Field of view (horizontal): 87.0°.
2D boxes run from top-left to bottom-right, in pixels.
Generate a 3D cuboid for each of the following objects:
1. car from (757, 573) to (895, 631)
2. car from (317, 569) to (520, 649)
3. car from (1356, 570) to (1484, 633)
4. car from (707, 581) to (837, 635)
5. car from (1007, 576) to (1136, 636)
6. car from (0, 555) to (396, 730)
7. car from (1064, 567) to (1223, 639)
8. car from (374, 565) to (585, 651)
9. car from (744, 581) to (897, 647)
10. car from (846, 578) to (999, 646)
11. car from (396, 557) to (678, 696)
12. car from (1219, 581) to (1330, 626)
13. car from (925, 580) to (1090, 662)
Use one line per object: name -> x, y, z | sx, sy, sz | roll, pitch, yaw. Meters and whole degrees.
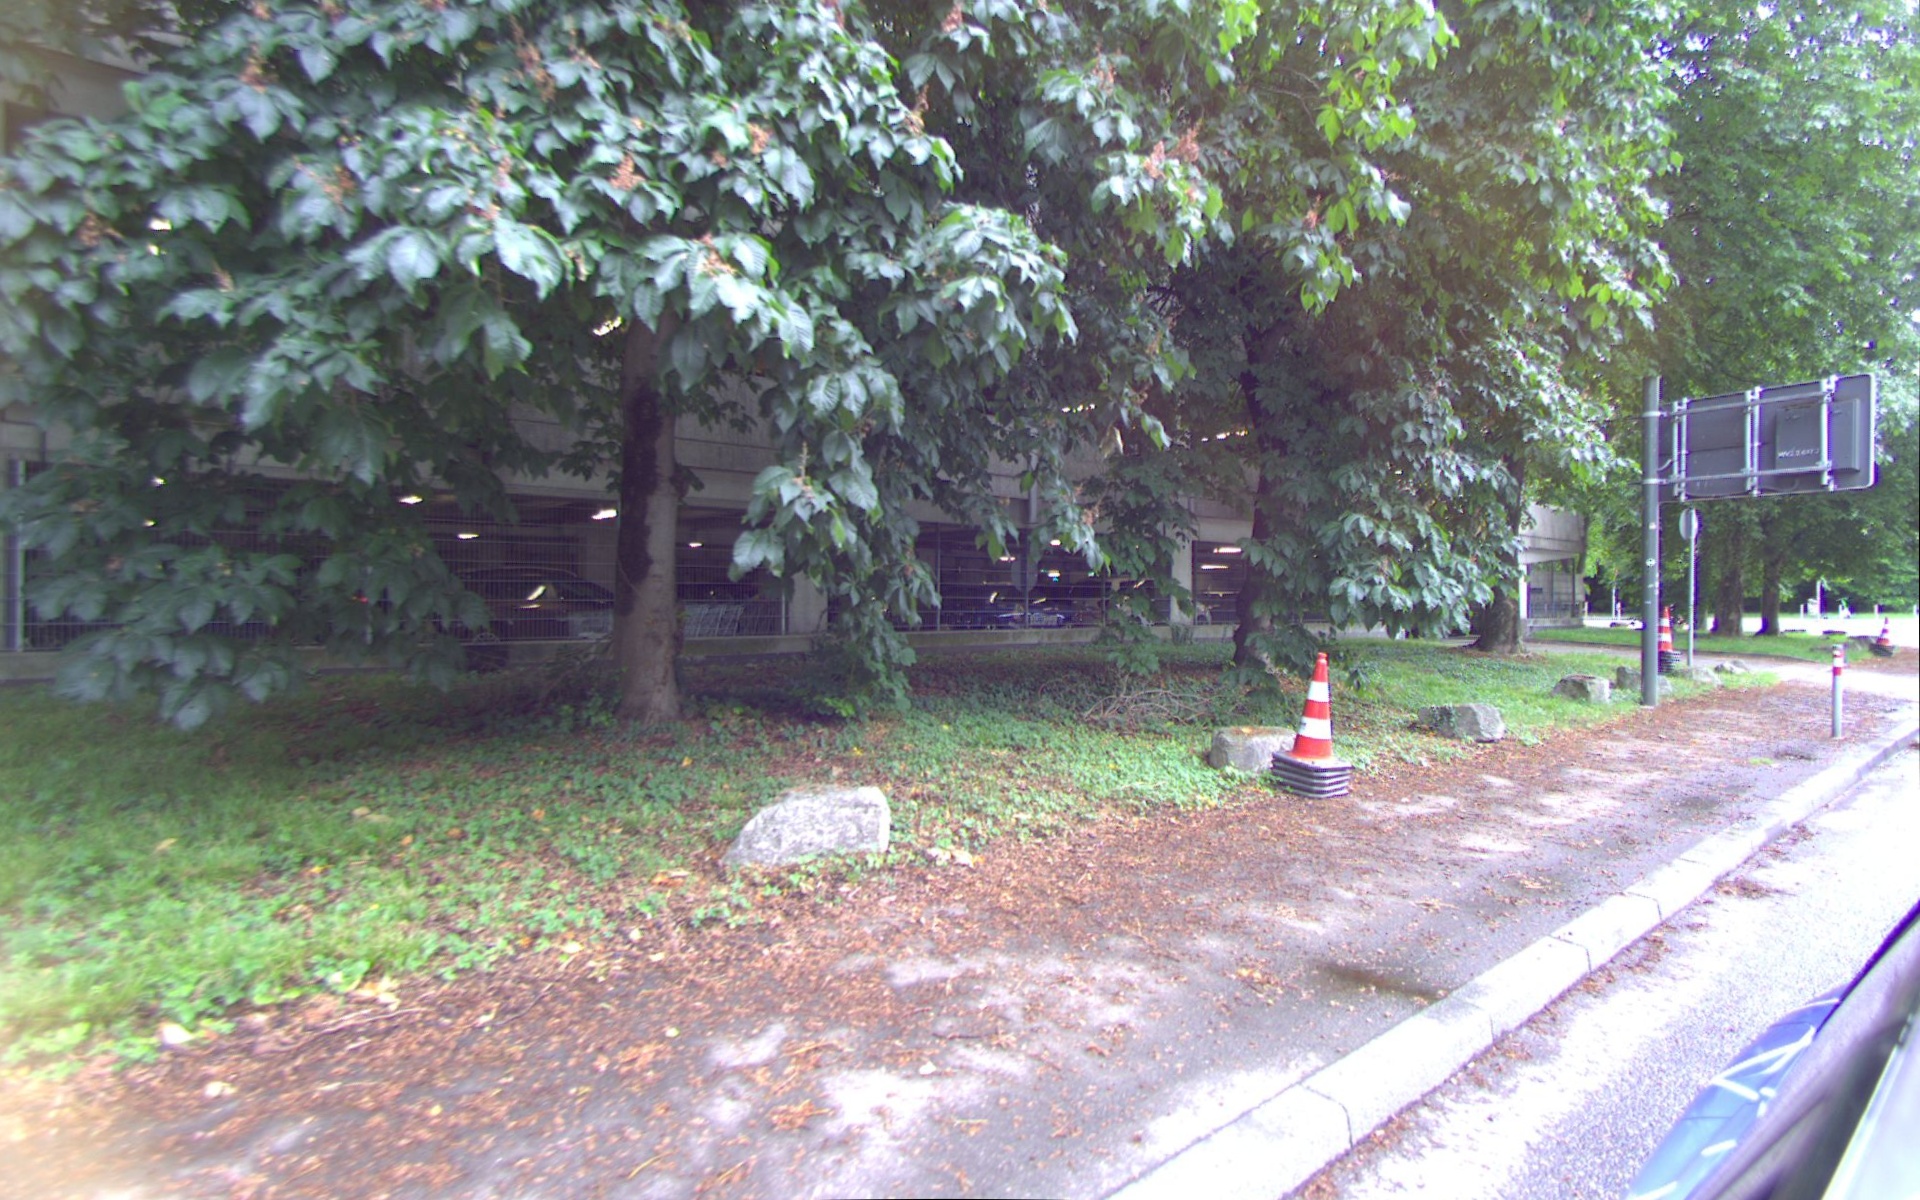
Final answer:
car -> -3.876, 0.036, 29.566 | 3.639, 1.565, 1.718 | -2, 0, -42
car -> -11.931, 0.154, 22.402 | 3.639, 1.627, 1.718 | -2, 0, -42
car -> 14.450, 0.041, 31.672 | 4.653, 1.858, 1.922 | 0, -1, -41
car -> -5.864, 0.218, 31.728 | 3.638, 1.565, 1.719 | -2, 0, -41
car -> 3.269, 0.150, 29.255 | 3.629, 1.606, 1.718 | -2, 0, -42
car -> -10.477, 0.463, 13.764 | 4.594, 2.039, 1.996 | -2, 0, -41
car -> 4.897, 0.039, 26.662 | 4.587, 1.730, 1.588 | -2, 0, -41
car -> -9.980, 0.116, 21.141 | 3.639, 1.627, 1.718 | -2, 0, -42
car -> -3.597, 0.330, 26.412 | 3.639, 1.565, 1.718 | -2, 0, -42
car -> -0.909, 0.272, 25.669 | 3.639, 1.565, 1.718 | -2, 0, -42
car -> -7.017, 0.353, 16.951 | 3.929, 2.039, 1.997 | -2, 0, -40
car -> 11.214, 0.113, 36.017 | 3.927, 1.471, 1.876 | -2, 0, -38
car -> 1.158, 0.438, 23.637 | 3.790, 1.730, 1.588 | -2, 0, -41
